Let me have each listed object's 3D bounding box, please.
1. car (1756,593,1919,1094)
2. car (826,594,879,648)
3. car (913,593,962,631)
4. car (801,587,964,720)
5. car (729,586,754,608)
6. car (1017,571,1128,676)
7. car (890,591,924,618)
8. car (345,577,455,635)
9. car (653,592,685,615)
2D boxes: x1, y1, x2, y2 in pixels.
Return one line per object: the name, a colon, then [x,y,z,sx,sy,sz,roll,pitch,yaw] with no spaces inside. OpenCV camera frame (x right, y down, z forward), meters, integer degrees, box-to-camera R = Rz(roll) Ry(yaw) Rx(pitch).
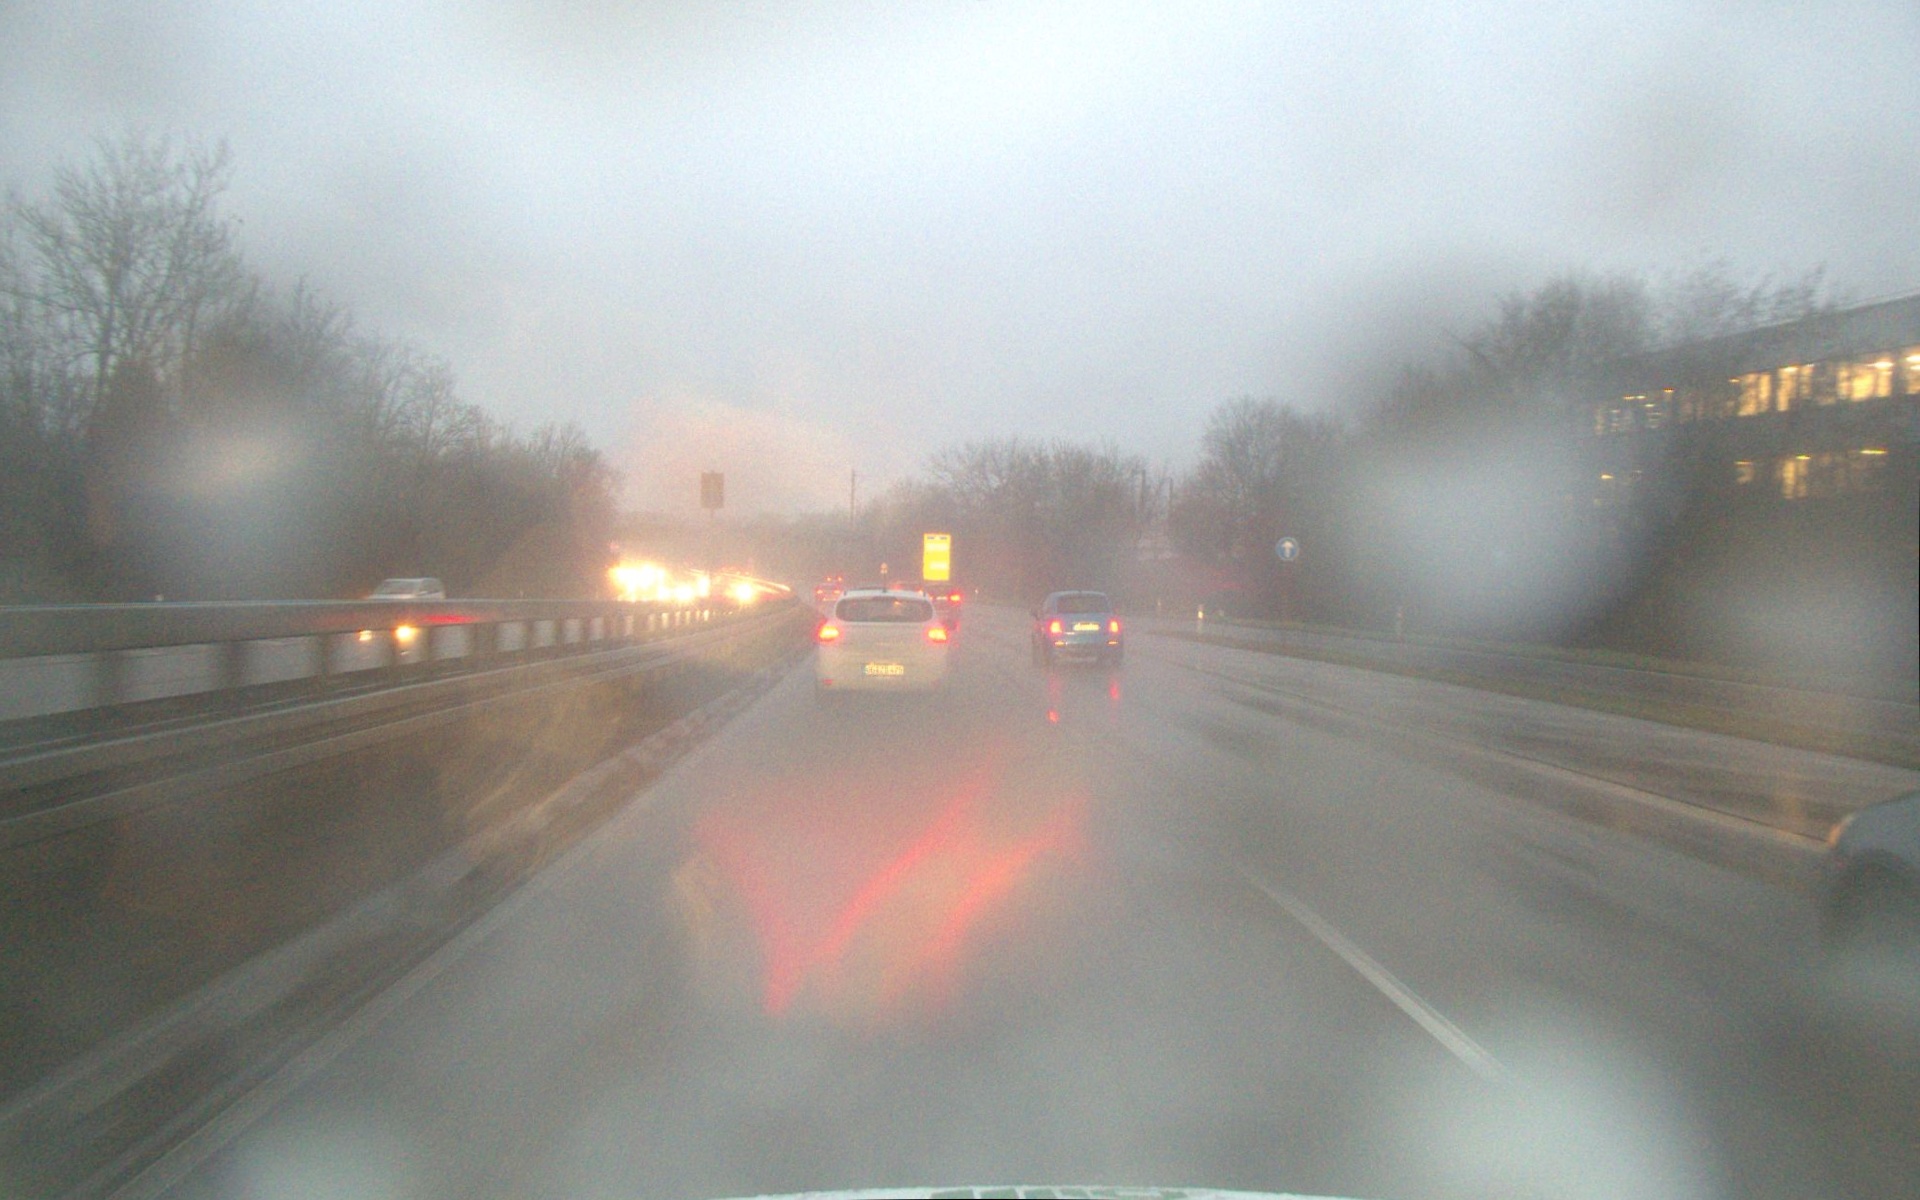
car: [3.874,0.762,3.932,1.812,1.528,4.261,1,0,-2]
car: [-4.309,0.821,66.009,1.955,2.049,3.995,1,0,-6]
car: [-1.072,0.577,77.265,1.895,1.573,3.769,-5,0,-5]
car: [-0.972,0.654,22.404,1.983,1.602,4.000,1,0,0]
car: [-15.771,-0.216,119.652,1.584,1.510,4.594,1,0,-5]
car: [2.301,0.455,34.708,1.894,2.054,3.771,1,0,-3]
car: [-3.220,0.236,99.569,1.894,1.573,3.770,1,0,-4]
car: [-19.921,0.201,59.034,1.951,1.947,4.449,1,0,7]
car: [-20.246,0.231,115.192,1.670,1.593,4.845,1,0,-5]
